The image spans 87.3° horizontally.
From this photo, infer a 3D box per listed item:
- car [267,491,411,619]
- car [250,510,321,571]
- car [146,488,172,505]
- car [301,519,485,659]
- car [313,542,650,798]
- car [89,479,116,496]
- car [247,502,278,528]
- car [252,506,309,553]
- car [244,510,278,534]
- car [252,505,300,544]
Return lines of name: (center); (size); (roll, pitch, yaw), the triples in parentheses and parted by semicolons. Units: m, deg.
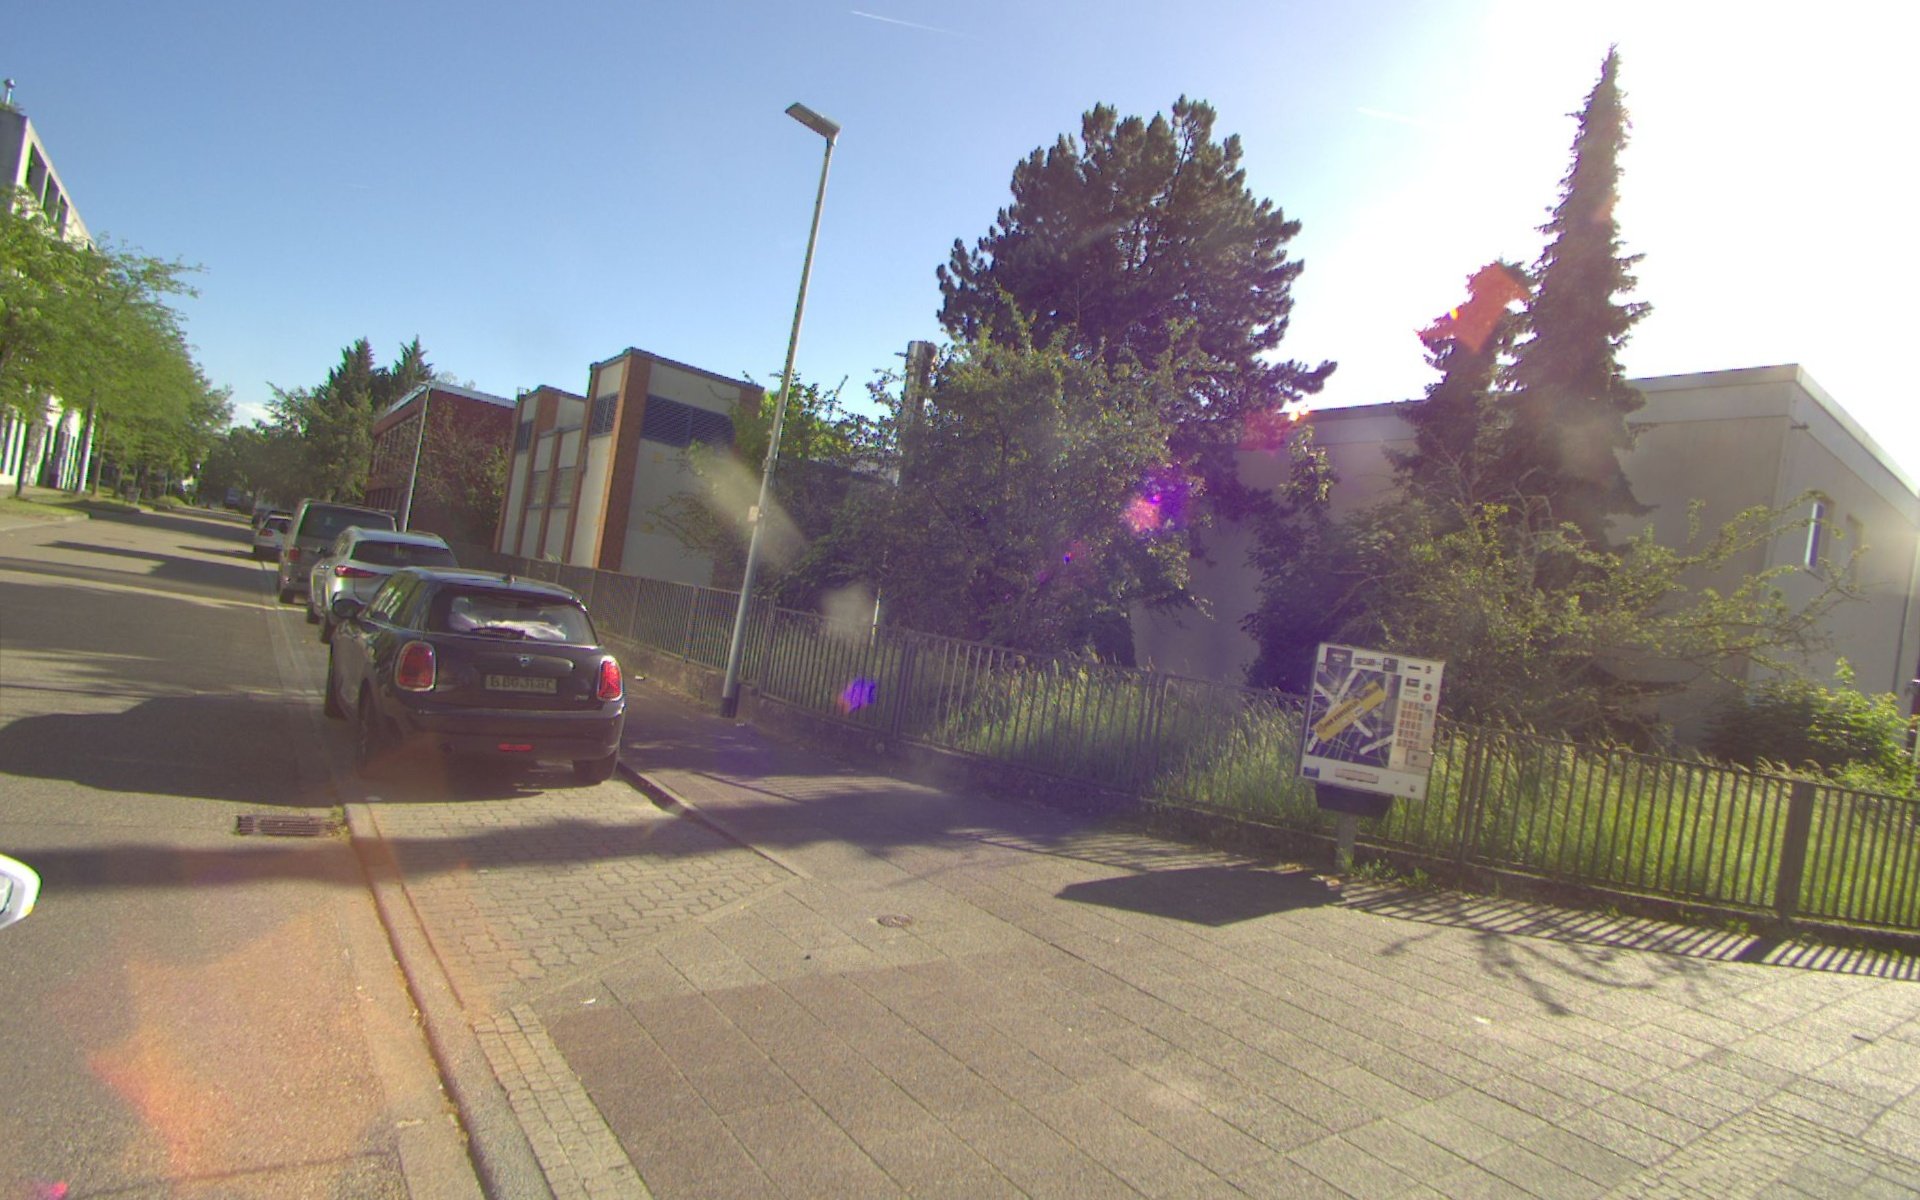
car: (-12.641, -0.950, 20.312); (1.934, 2.046, 4.777); (8, -1, -36)
car: (-22.096, -1.982, 32.938); (1.652, 1.579, 3.896); (10, -1, -35)
car: (-86.537, -11.169, 108.739); (1.987, 1.474, 3.752); (11, -2, -39)
car: (-8.715, -0.246, 15.282); (1.816, 1.648, 4.251); (8, -1, -36)
car: (-4.040, 0.440, 8.140); (1.644, 1.490, 3.726); (8, -1, -37)
car: (-90.207, -11.811, 105.872); (1.899, 1.357, 3.751); (10, -1, -39)
car: (-58.760, -7.158, 84.765); (1.981, 1.858, 3.961); (6, 1, -35)
car: (-30.401, -3.173, 44.986); (1.829, 1.652, 4.160); (10, -1, -35)
car: (-55.579, -6.197, 79.961); (1.984, 1.458, 3.961); (10, -2, -35)
car: (-36.364, -4.055, 53.454); (1.845, 1.668, 3.960); (9, 0, -35)
